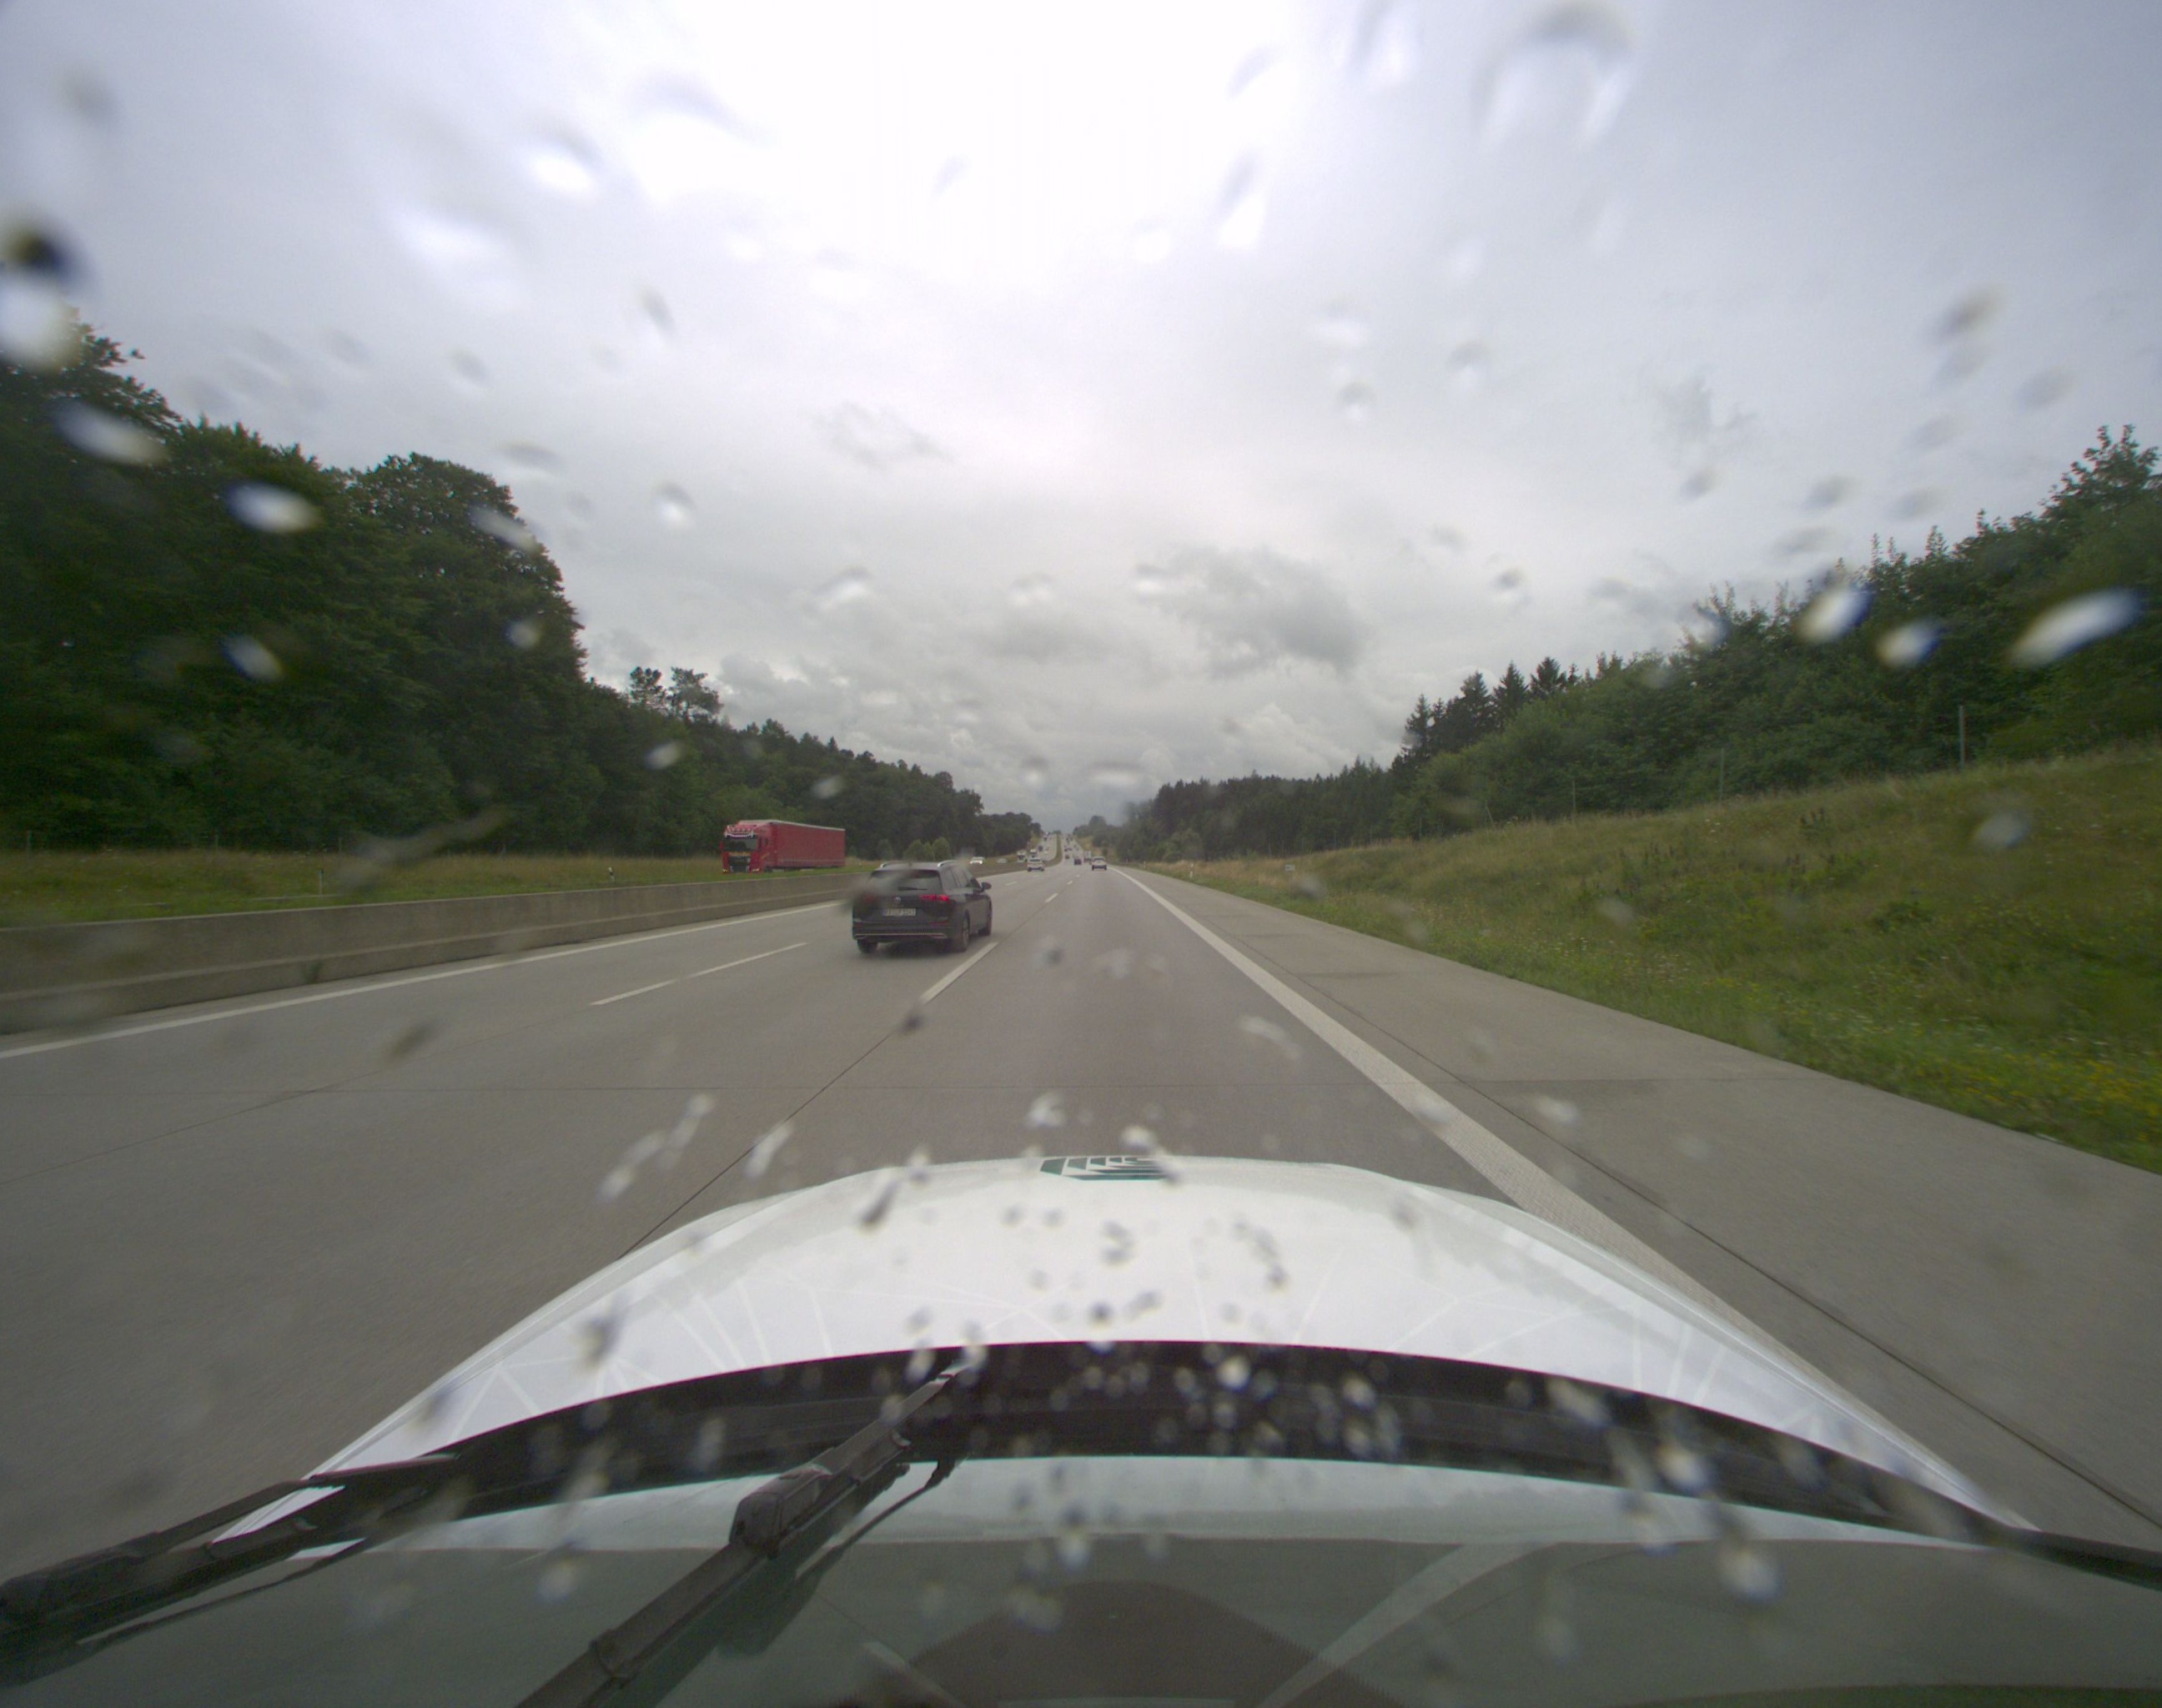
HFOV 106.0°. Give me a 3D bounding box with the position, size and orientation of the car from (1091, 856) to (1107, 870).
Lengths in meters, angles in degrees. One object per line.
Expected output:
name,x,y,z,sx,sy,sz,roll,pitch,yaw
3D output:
car,2.215,1.051,98.425,1.819,1.655,3.987,0,0,2

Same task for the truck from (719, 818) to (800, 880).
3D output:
truck,-21.577,-0.320,55.090,2.544,3.928,6.949,0,0,1

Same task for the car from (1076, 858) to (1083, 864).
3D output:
car,-0.463,1.786,213.313,1.929,1.375,4.593,0,0,-1

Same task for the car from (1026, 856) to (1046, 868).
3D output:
car,-5.212,0.888,95.584,1.940,1.356,4.261,0,0,2

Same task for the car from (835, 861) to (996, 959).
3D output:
car,-2.670,0.844,14.222,1.746,1.398,4.486,0,0,2

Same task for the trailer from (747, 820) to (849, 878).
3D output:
trailer,-21.413,-0.327,62.980,2.599,3.944,14.381,0,0,1
